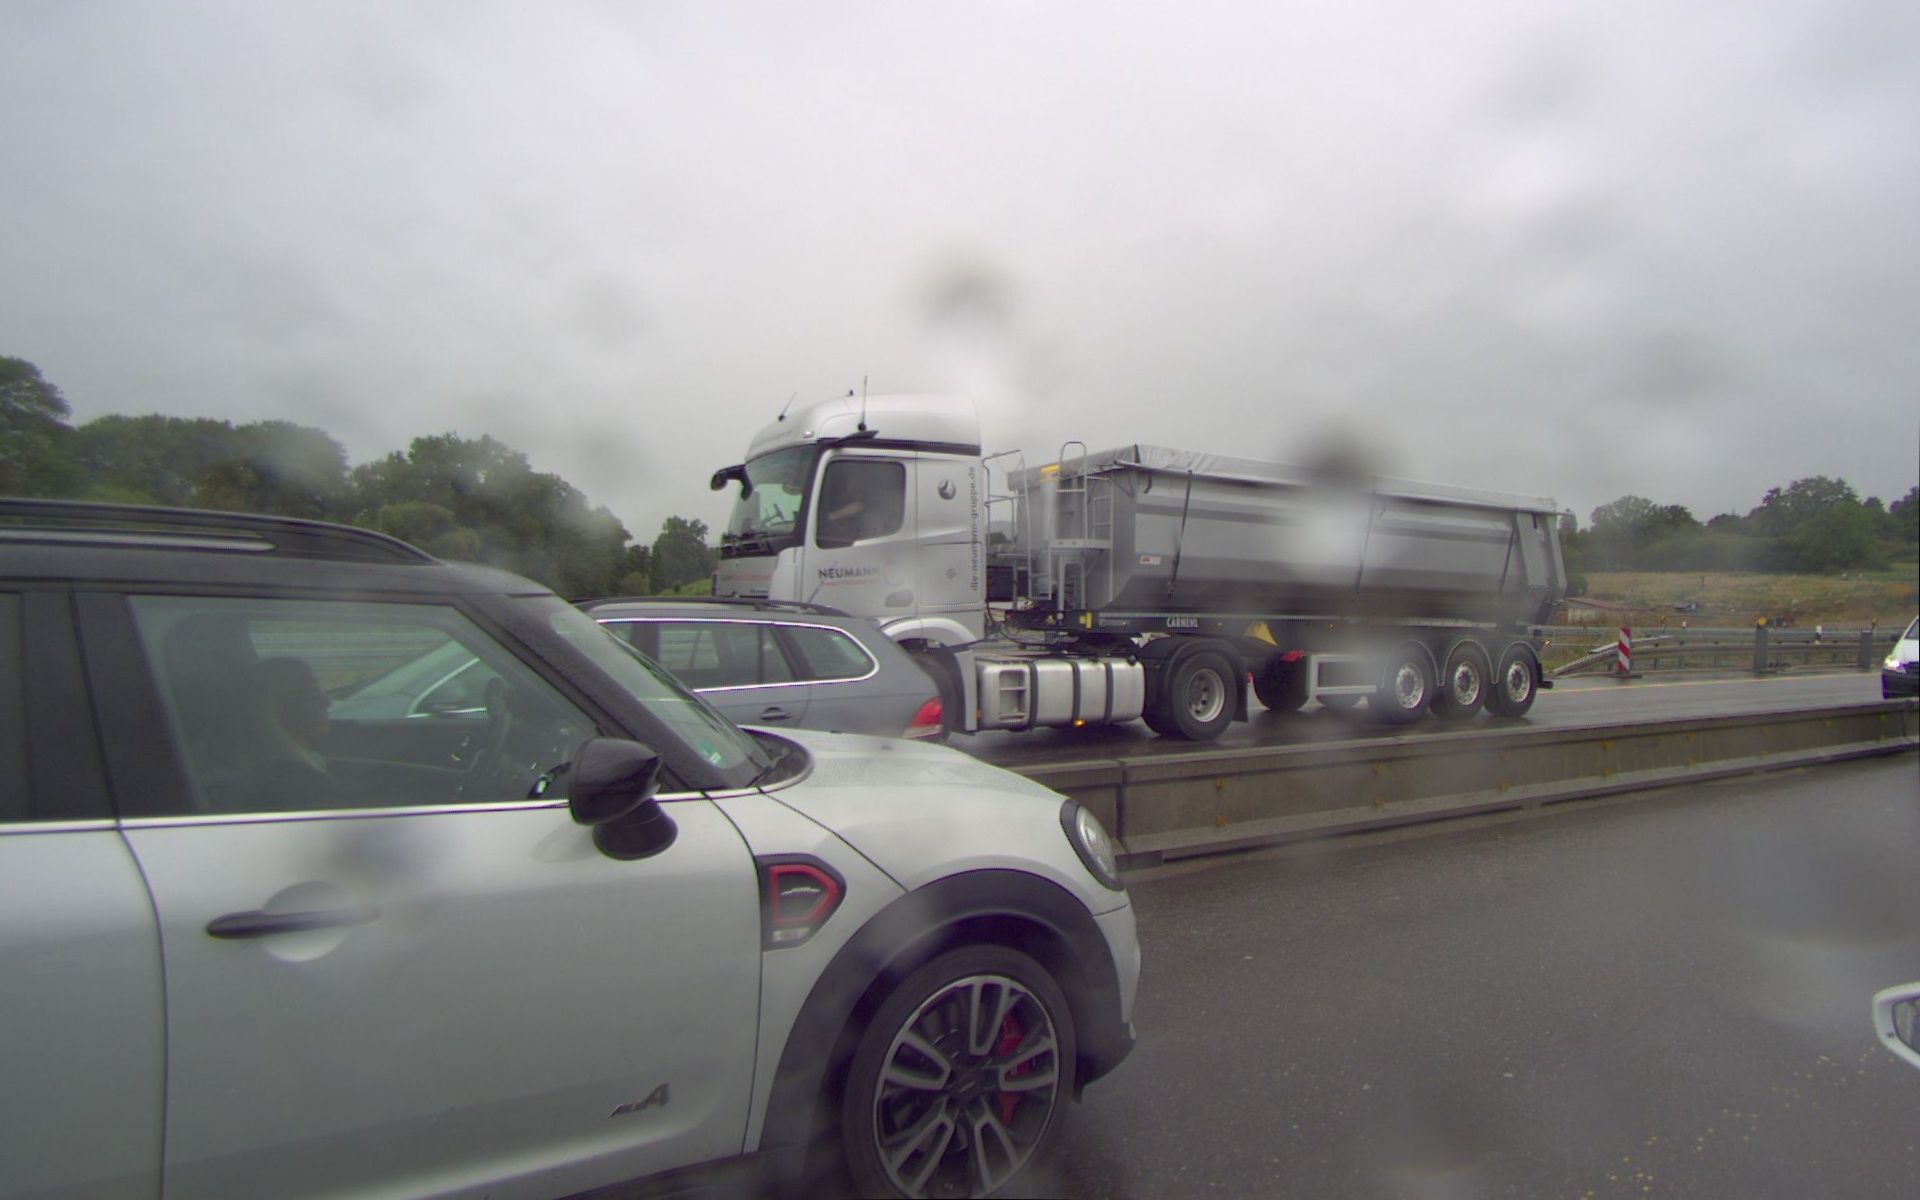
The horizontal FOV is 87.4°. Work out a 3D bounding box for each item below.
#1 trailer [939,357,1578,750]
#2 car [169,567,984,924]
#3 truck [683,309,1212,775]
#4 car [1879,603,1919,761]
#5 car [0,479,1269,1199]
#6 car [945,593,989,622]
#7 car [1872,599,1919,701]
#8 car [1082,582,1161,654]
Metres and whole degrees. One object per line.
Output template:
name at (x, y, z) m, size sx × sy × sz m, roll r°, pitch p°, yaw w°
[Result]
trailer at (4.575, -0.388, 13.928) m, size 9.706 × 4.016 × 2.672 m, roll 1°, pitch -1°, yaw -31°
car at (-1.981, 0.622, 5.896) m, size 3.954 × 1.473 × 1.701 m, roll 1°, pitch 0°, yaw -31°
truck at (-0.084, -0.446, 11.080) m, size 5.213 × 3.979 × 2.673 m, roll 1°, pitch -1°, yaw -31°
car at (11.942, 0.880, 10.740) m, size 4.092 × 1.622 × 1.984 m, roll 1°, pitch 0°, yaw -30°
car at (-1.436, 0.629, 2.477) m, size 4.257 × 1.622 × 1.807 m, roll 0°, pitch 1°, yaw -30°
car at (0.466, 0.557, 75.641) m, size 2.037 × 2.090 × 4.826 m, roll 1°, pitch 0°, yaw -16°
car at (19.593, 0.939, 19.114) m, size 5.298 × 1.816 × 1.865 m, roll 1°, pitch 0°, yaw -31°
car at (5.034, 0.517, 31.644) m, size 2.226 × 2.040 × 5.048 m, roll 1°, pitch 0°, yaw 8°
